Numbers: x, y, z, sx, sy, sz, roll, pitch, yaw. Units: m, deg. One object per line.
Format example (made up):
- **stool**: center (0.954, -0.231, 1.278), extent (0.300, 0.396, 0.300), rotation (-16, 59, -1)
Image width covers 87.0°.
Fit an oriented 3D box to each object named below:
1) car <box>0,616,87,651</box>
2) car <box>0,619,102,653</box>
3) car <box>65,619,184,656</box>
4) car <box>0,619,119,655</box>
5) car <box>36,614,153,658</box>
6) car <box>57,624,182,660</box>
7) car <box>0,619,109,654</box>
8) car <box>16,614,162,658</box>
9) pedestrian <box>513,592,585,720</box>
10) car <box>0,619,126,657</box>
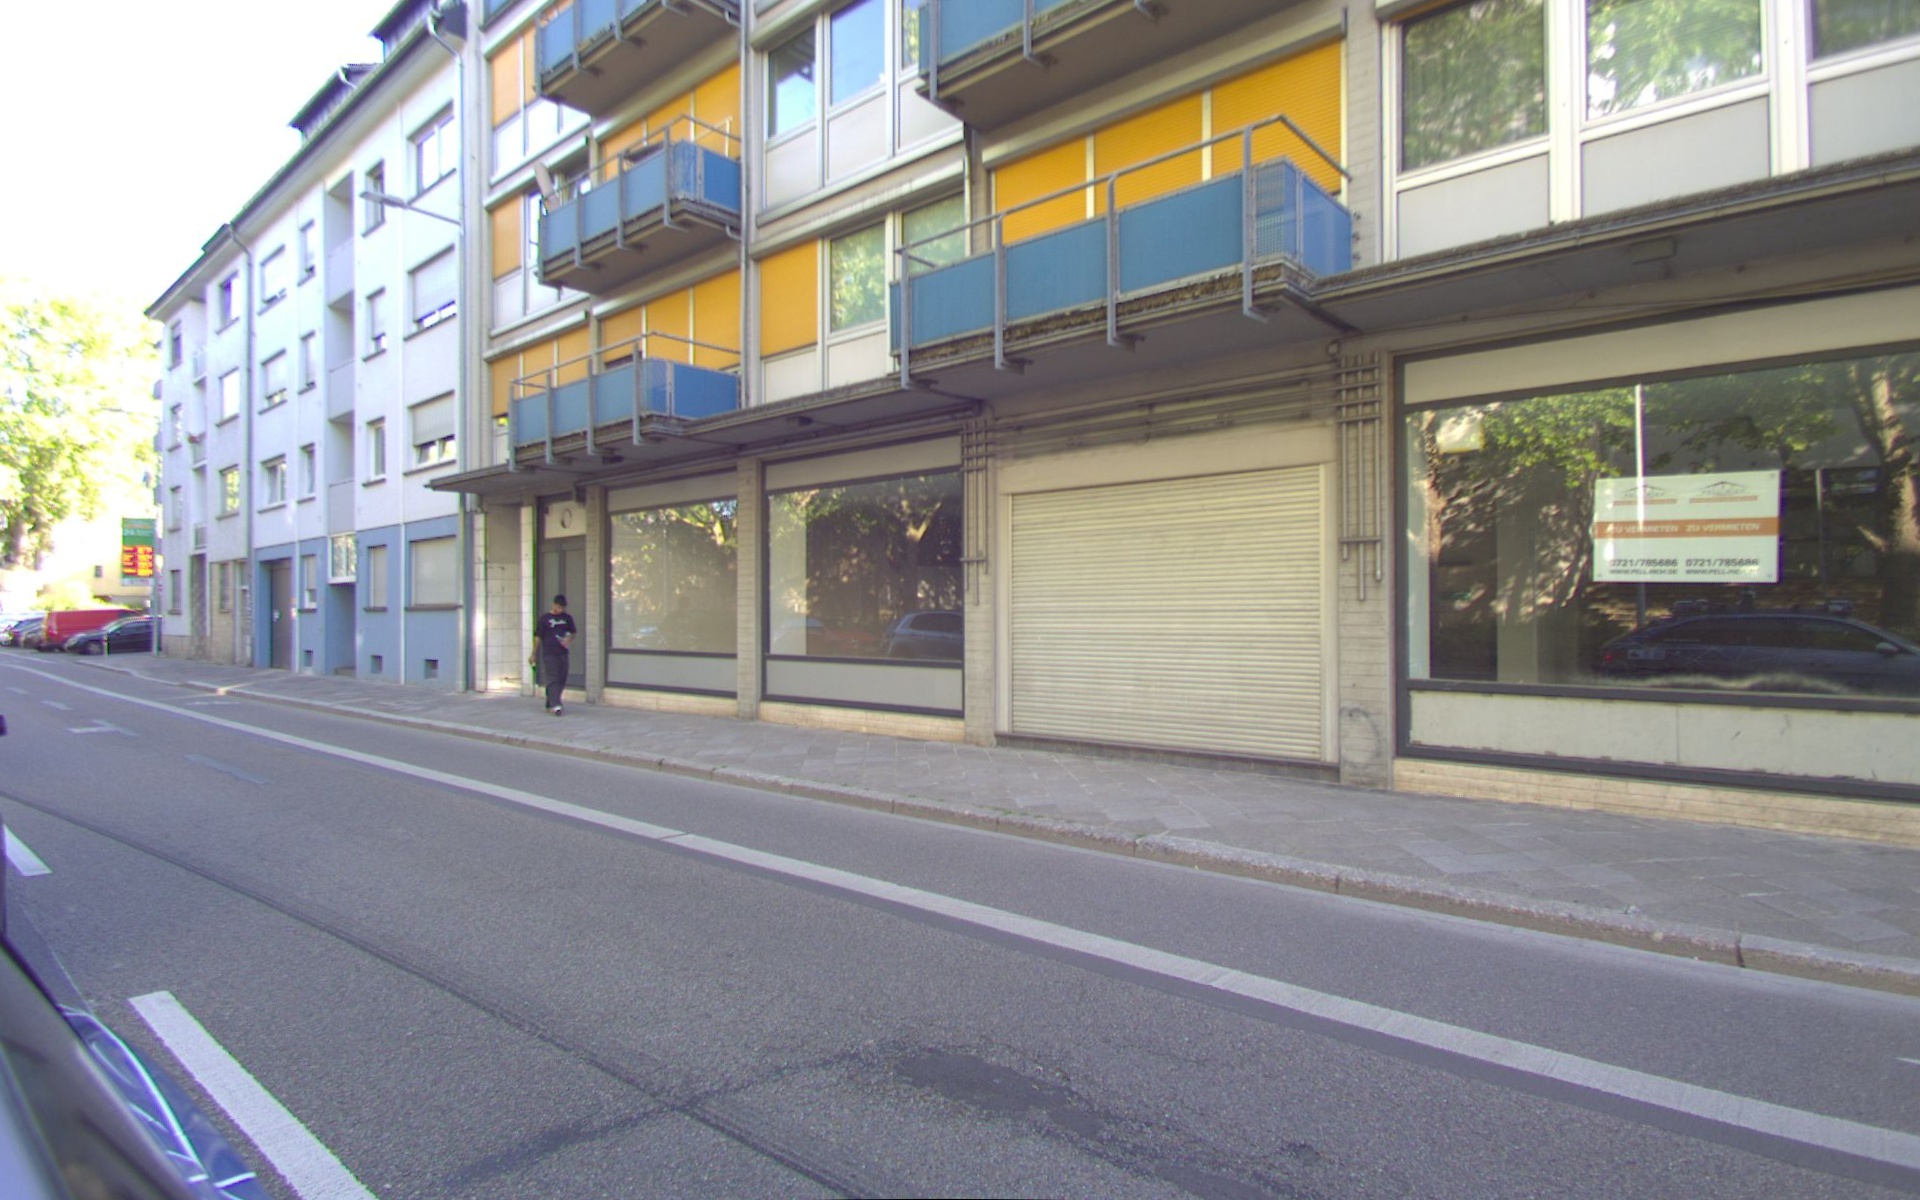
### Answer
- **car**: center (-59.339, 2.104, 64.705), extent (2.186, 2.164, 5.077), rotation (-1, -1, 41)
- **car**: center (-55.964, 2.164, 61.979), extent (2.314, 1.952, 4.978), rotation (-1, -1, 41)
- **car**: center (-37.870, 1.684, 45.936), extent (1.742, 1.572, 3.946), rotation (-1, -1, 41)
- **car**: center (-52.231, 2.115, 58.711), extent (2.159, 1.952, 4.990), rotation (-1, -1, 41)
- **car**: center (-40.583, 1.639, 47.509), extent (1.866, 1.952, 3.946), rotation (-1, -1, 41)
- **car**: center (-36.546, 1.793, 44.070), extent (1.742, 1.431, 3.946), rotation (-1, -1, 41)
- **car**: center (-54.117, 2.137, 60.348), extent (2.082, 1.952, 4.928), rotation (-1, -1, 41)
- **car**: center (-42.684, 1.706, 49.707), extent (2.256, 1.995, 5.156), rotation (-1, -1, 41)
- **pedestrian**: center (-5.958, 0.786, 14.667), extent (0.793, 1.785, 0.655), rotation (-1, -1, 41)
- **car**: center (-50.292, 2.092, 56.823), extent (2.186, 1.952, 5.077), rotation (-1, -1, 41)
